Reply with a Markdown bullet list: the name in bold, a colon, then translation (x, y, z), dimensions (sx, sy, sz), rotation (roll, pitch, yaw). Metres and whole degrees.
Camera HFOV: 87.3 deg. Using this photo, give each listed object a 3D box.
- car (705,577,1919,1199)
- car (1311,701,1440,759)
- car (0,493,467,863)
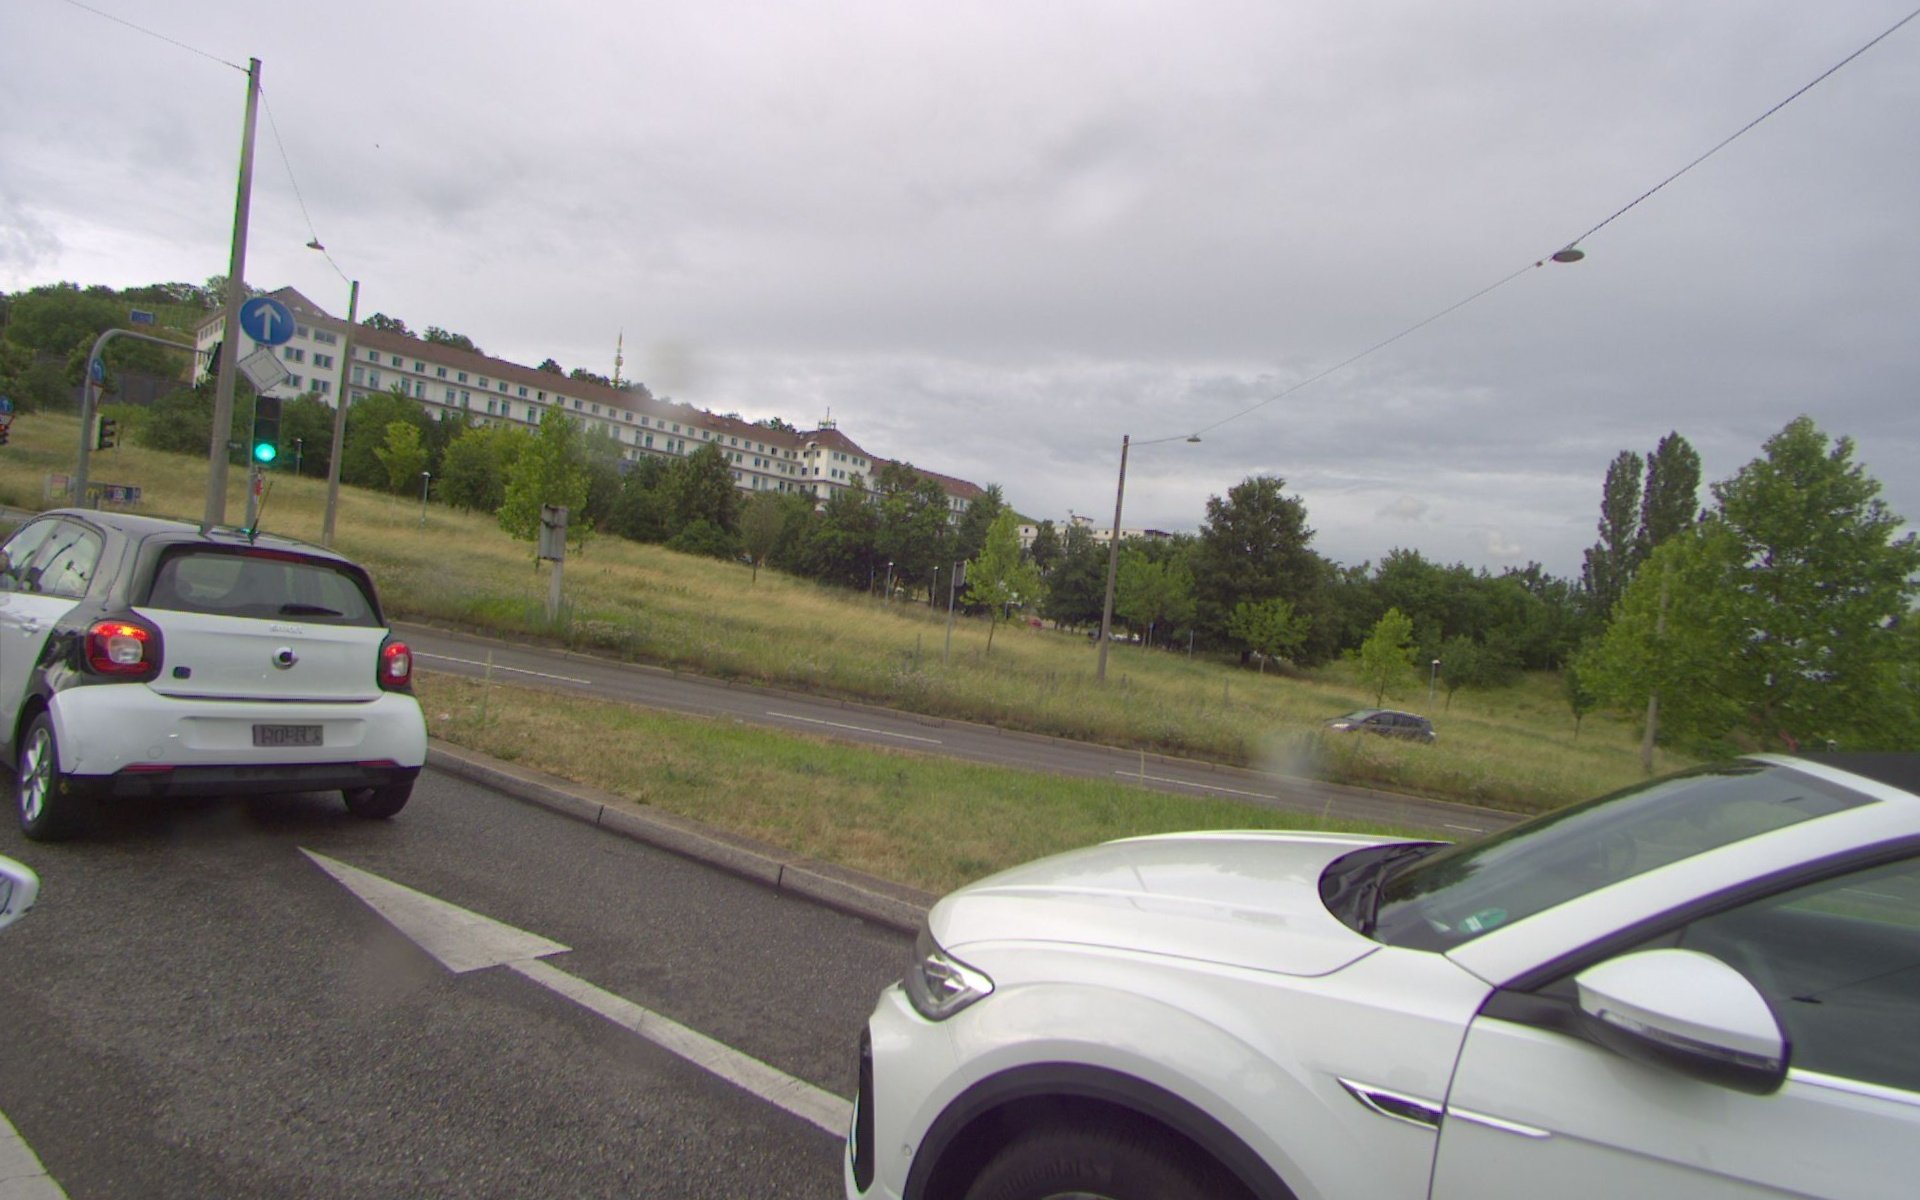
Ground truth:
- **car**: translation (1.739, 0.999, 1.789), dimensions (4.158, 1.571, 1.717), rotation (6, -2, 30)
- **car**: translation (15.555, 4.851, 37.782), dimensions (3.893, 1.554, 1.998), rotation (7, -2, -8)
- **car**: translation (-4.636, 0.286, 5.829), dimensions (3.397, 1.520, 1.659), rotation (6, -2, 36)
